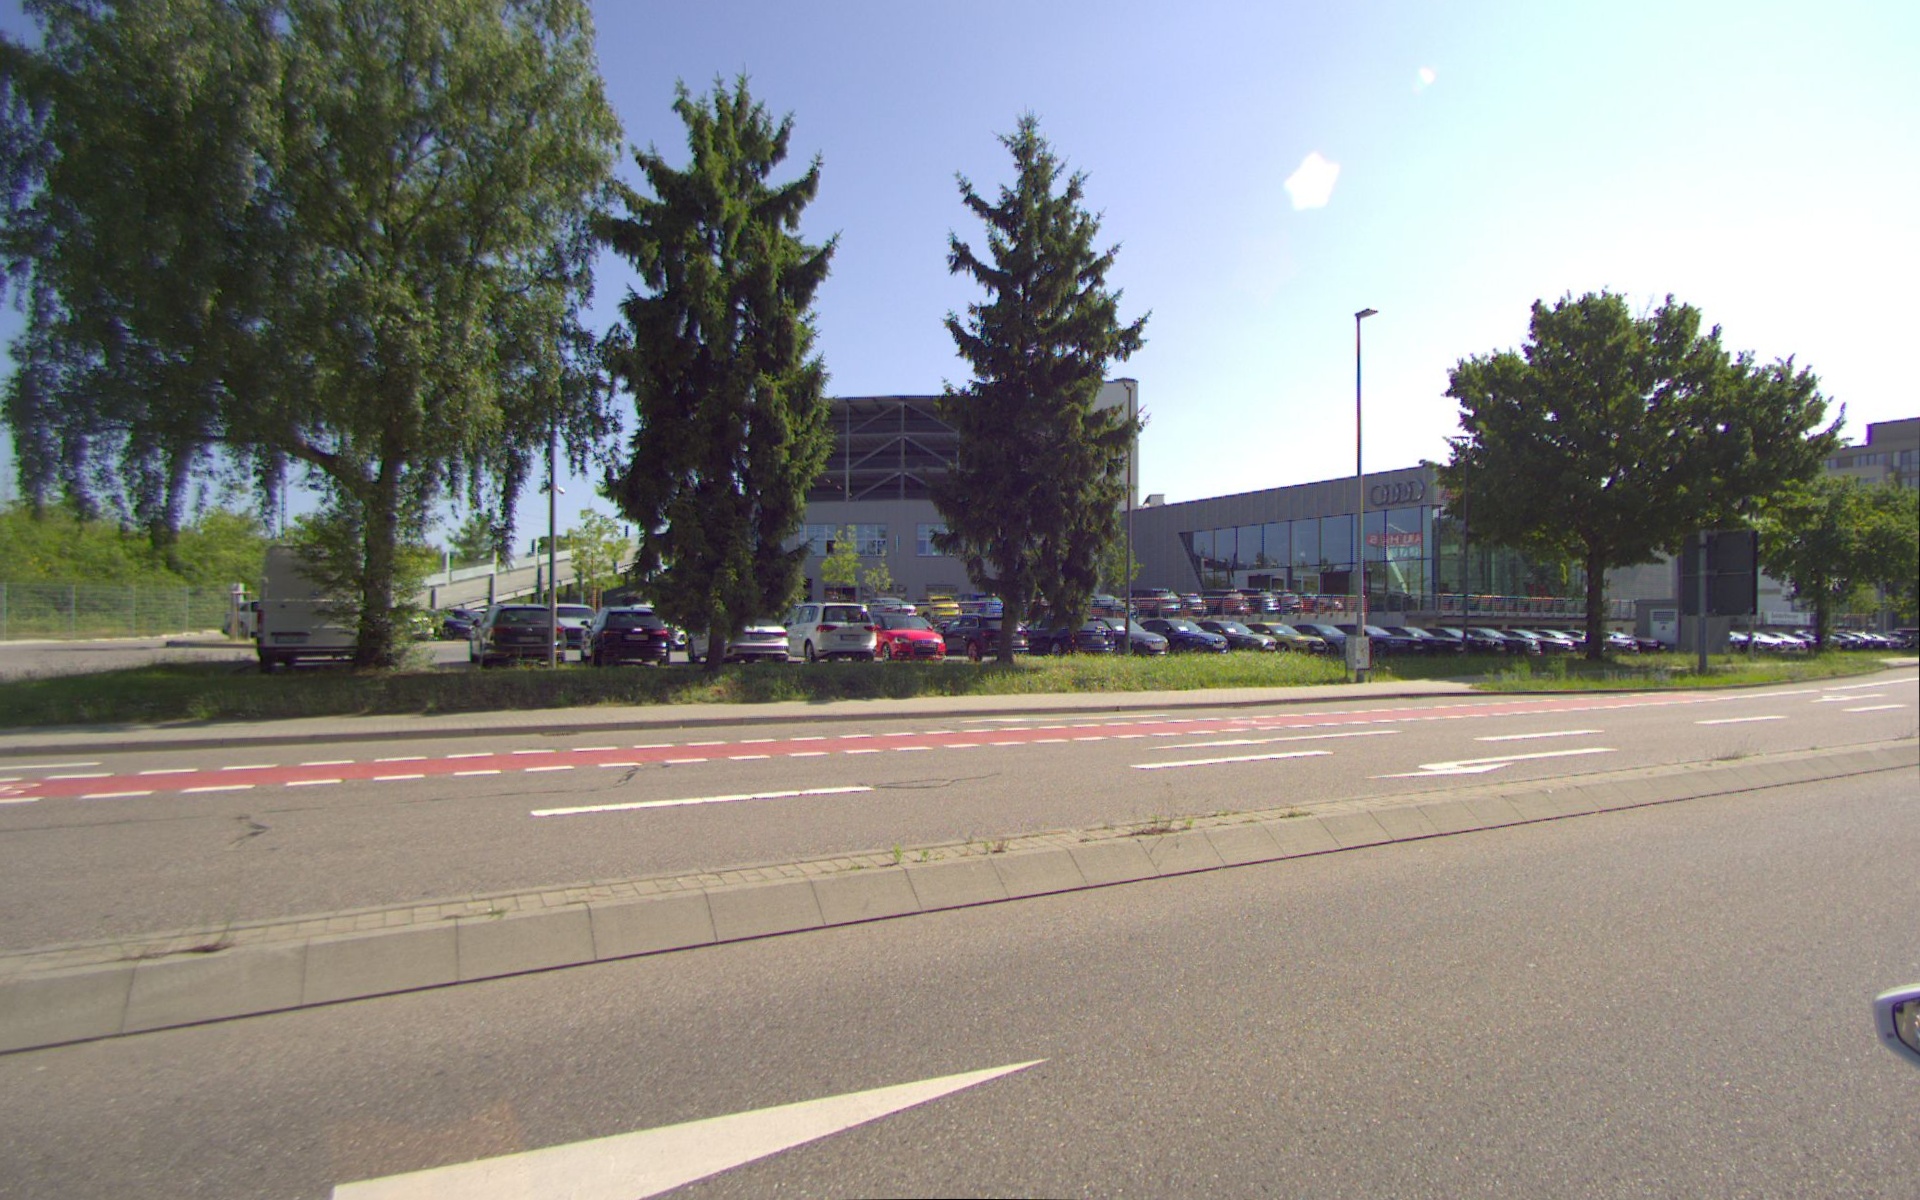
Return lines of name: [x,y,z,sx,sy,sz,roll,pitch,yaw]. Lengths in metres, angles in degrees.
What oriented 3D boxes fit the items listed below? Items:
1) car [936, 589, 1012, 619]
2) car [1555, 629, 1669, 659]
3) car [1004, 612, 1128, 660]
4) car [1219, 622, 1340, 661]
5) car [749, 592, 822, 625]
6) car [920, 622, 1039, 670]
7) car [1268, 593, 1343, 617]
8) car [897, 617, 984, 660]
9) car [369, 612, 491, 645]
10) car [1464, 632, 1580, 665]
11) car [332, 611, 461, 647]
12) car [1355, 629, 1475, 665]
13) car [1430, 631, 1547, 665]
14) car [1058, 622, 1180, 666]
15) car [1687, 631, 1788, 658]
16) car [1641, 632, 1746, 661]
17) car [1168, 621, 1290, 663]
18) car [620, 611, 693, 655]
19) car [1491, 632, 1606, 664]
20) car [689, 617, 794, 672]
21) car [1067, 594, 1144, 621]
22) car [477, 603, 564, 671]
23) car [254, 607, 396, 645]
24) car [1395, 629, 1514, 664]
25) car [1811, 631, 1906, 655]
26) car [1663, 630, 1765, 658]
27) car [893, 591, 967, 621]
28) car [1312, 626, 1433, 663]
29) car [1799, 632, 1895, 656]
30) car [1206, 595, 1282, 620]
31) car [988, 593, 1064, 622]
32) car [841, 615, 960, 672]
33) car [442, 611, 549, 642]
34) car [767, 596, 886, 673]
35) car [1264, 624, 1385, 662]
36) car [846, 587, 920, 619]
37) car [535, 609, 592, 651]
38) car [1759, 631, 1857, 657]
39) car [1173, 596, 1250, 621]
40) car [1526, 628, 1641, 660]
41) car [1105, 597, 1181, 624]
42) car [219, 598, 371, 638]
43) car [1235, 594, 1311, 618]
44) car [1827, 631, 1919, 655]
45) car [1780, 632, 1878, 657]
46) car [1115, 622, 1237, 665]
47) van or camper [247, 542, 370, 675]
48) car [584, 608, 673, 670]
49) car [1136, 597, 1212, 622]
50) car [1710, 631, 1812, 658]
car: [0.640,0.243,49.426,1.929,1.368,4.250,1,-1,-28]
car: [31.353,2.083,48.454,1.928,1.368,4.252,1,-1,-26]
car: [3.257,1.104,31.681,1.928,1.399,4.252,1,-1,-26]
car: [11.802,1.500,37.381,1.928,1.368,4.252,1,-1,-26]
car: [-7.686,0.393,43.925,1.929,1.368,4.250,1,-1,-28]
car: [0.507,1.357,30.781,1.928,1.346,4.252,1,-1,-26]
car: [21.076,0.320,61.433,1.929,1.368,4.250,1,-1,-28]
car: [-0.868,1.534,41.060,1.928,1.664,4.252,1,-1,-26]
car: [-23.927,1.284,45.460,4.458,1.461,2.001,0,-1,4]
car: [25.181,2.134,45.139,1.928,1.368,4.252,1,-1,-26]
car: [-24.190,1.232,43.200,4.458,1.461,2.001,0,-1,4]
car: [18.620,1.899,41.301,1.928,1.368,4.252,1,-1,-26]
car: [23.017,2.066,43.891,1.928,1.368,4.252,1,-1,-26]
car: [5.205,1.412,33.501,1.928,1.368,4.252,1,-1,-26]
car: [42.107,2.395,54.479,1.842,1.394,3.971,1,-2,-28]
car: [37.980,2.391,52.079,1.975,1.394,3.971,1,-2,-28]
car: [9.549,1.464,35.948,1.928,1.368,4.252,1,-1,-26]
car: [-10.816,1.160,35.632,1.722,1.457,4.071,1,-1,-28]
car: [27.145,2.180,46.480,1.928,1.368,4.252,1,-1,-26]
car: [-5.730,1.105,26.011,1.721,1.310,4.073,1,-1,-26]
car: [7.630,0.430,53.093,1.929,1.368,4.250,1,-1,-28]
car: [-10.393,0.838,23.844,1.719,1.457,4.078,1,-1,-23]
car: [-25.243,1.042,40.017,4.458,1.461,2.001,0,-1,4]
car: [20.856,1.932,42.524,1.928,1.368,4.252,1,-1,-26]
car: [55.247,2.633,61.817,1.900,1.394,3.971,1,-2,-28]
car: [40.231,2.332,53.653,1.842,1.394,3.971,1,-2,-28]
car: [-1.485,0.321,48.156,1.929,1.368,4.250,1,-1,-28]
car: [16.230,1.730,39.771,1.928,1.368,4.252,1,-1,-26]
car: [53.494,2.622,60.665,1.900,1.394,3.971,1,-2,-28]
car: [16.444,0.461,58.340,1.929,1.368,4.250,1,-1,-28]
car: [3.279,0.396,50.584,1.929,1.368,4.250,1,-1,-28]
car: [-1.800,1.211,28.969,1.928,1.524,4.252,1,-1,-26]
car: [-23.323,1.330,50.555,4.458,1.461,2.001,0,-1,4]
car: [-3.713,0.907,27.299,1.928,1.909,4.252,1,-1,-26]
car: [13.946,1.629,38.661,1.928,1.368,4.252,1,-1,-26]
car: [-3.633,0.183,46.574,1.929,1.368,4.250,1,-1,-28]
car: [-13.707,1.020,34.597,1.719,1.372,4.078,1,-2,-23]
car: [49.153,2.515,58.288,1.900,1.394,3.971,1,-2,-28]
car: [14.268,0.522,57.103,1.929,1.368,4.250,1,-1,-28]
car: [29.266,2.047,47.308,1.928,1.368,4.252,1,-1,-26]
car: [9.884,0.591,54.552,1.929,1.368,4.250,1,-1,-28]
car: [-24.986,0.687,37.837,4.458,1.461,2.001,0,-1,4]
car: [18.662,0.382,60.033,1.929,1.368,4.250,1,-1,-28]
car: [57.647,2.698,63.454,1.900,1.394,3.971,1,-2,-28]
car: [51.424,2.586,59.510,1.900,1.394,3.971,1,-2,-28]
car: [7.386,1.467,34.811,1.928,1.368,4.252,1,-1,-26]
van or camper: [-13.944,0.095,21.771,1.977,2.504,5.351,0,1,-31]
car: [-8.243,0.939,24.777,1.719,1.372,4.078,2,-2,-23]
car: [11.946,0.560,56.373,1.929,1.368,4.250,1,-1,-28]
car: [44.490,2.454,55.883,2.000,1.394,4.025,1,-2,-28]
